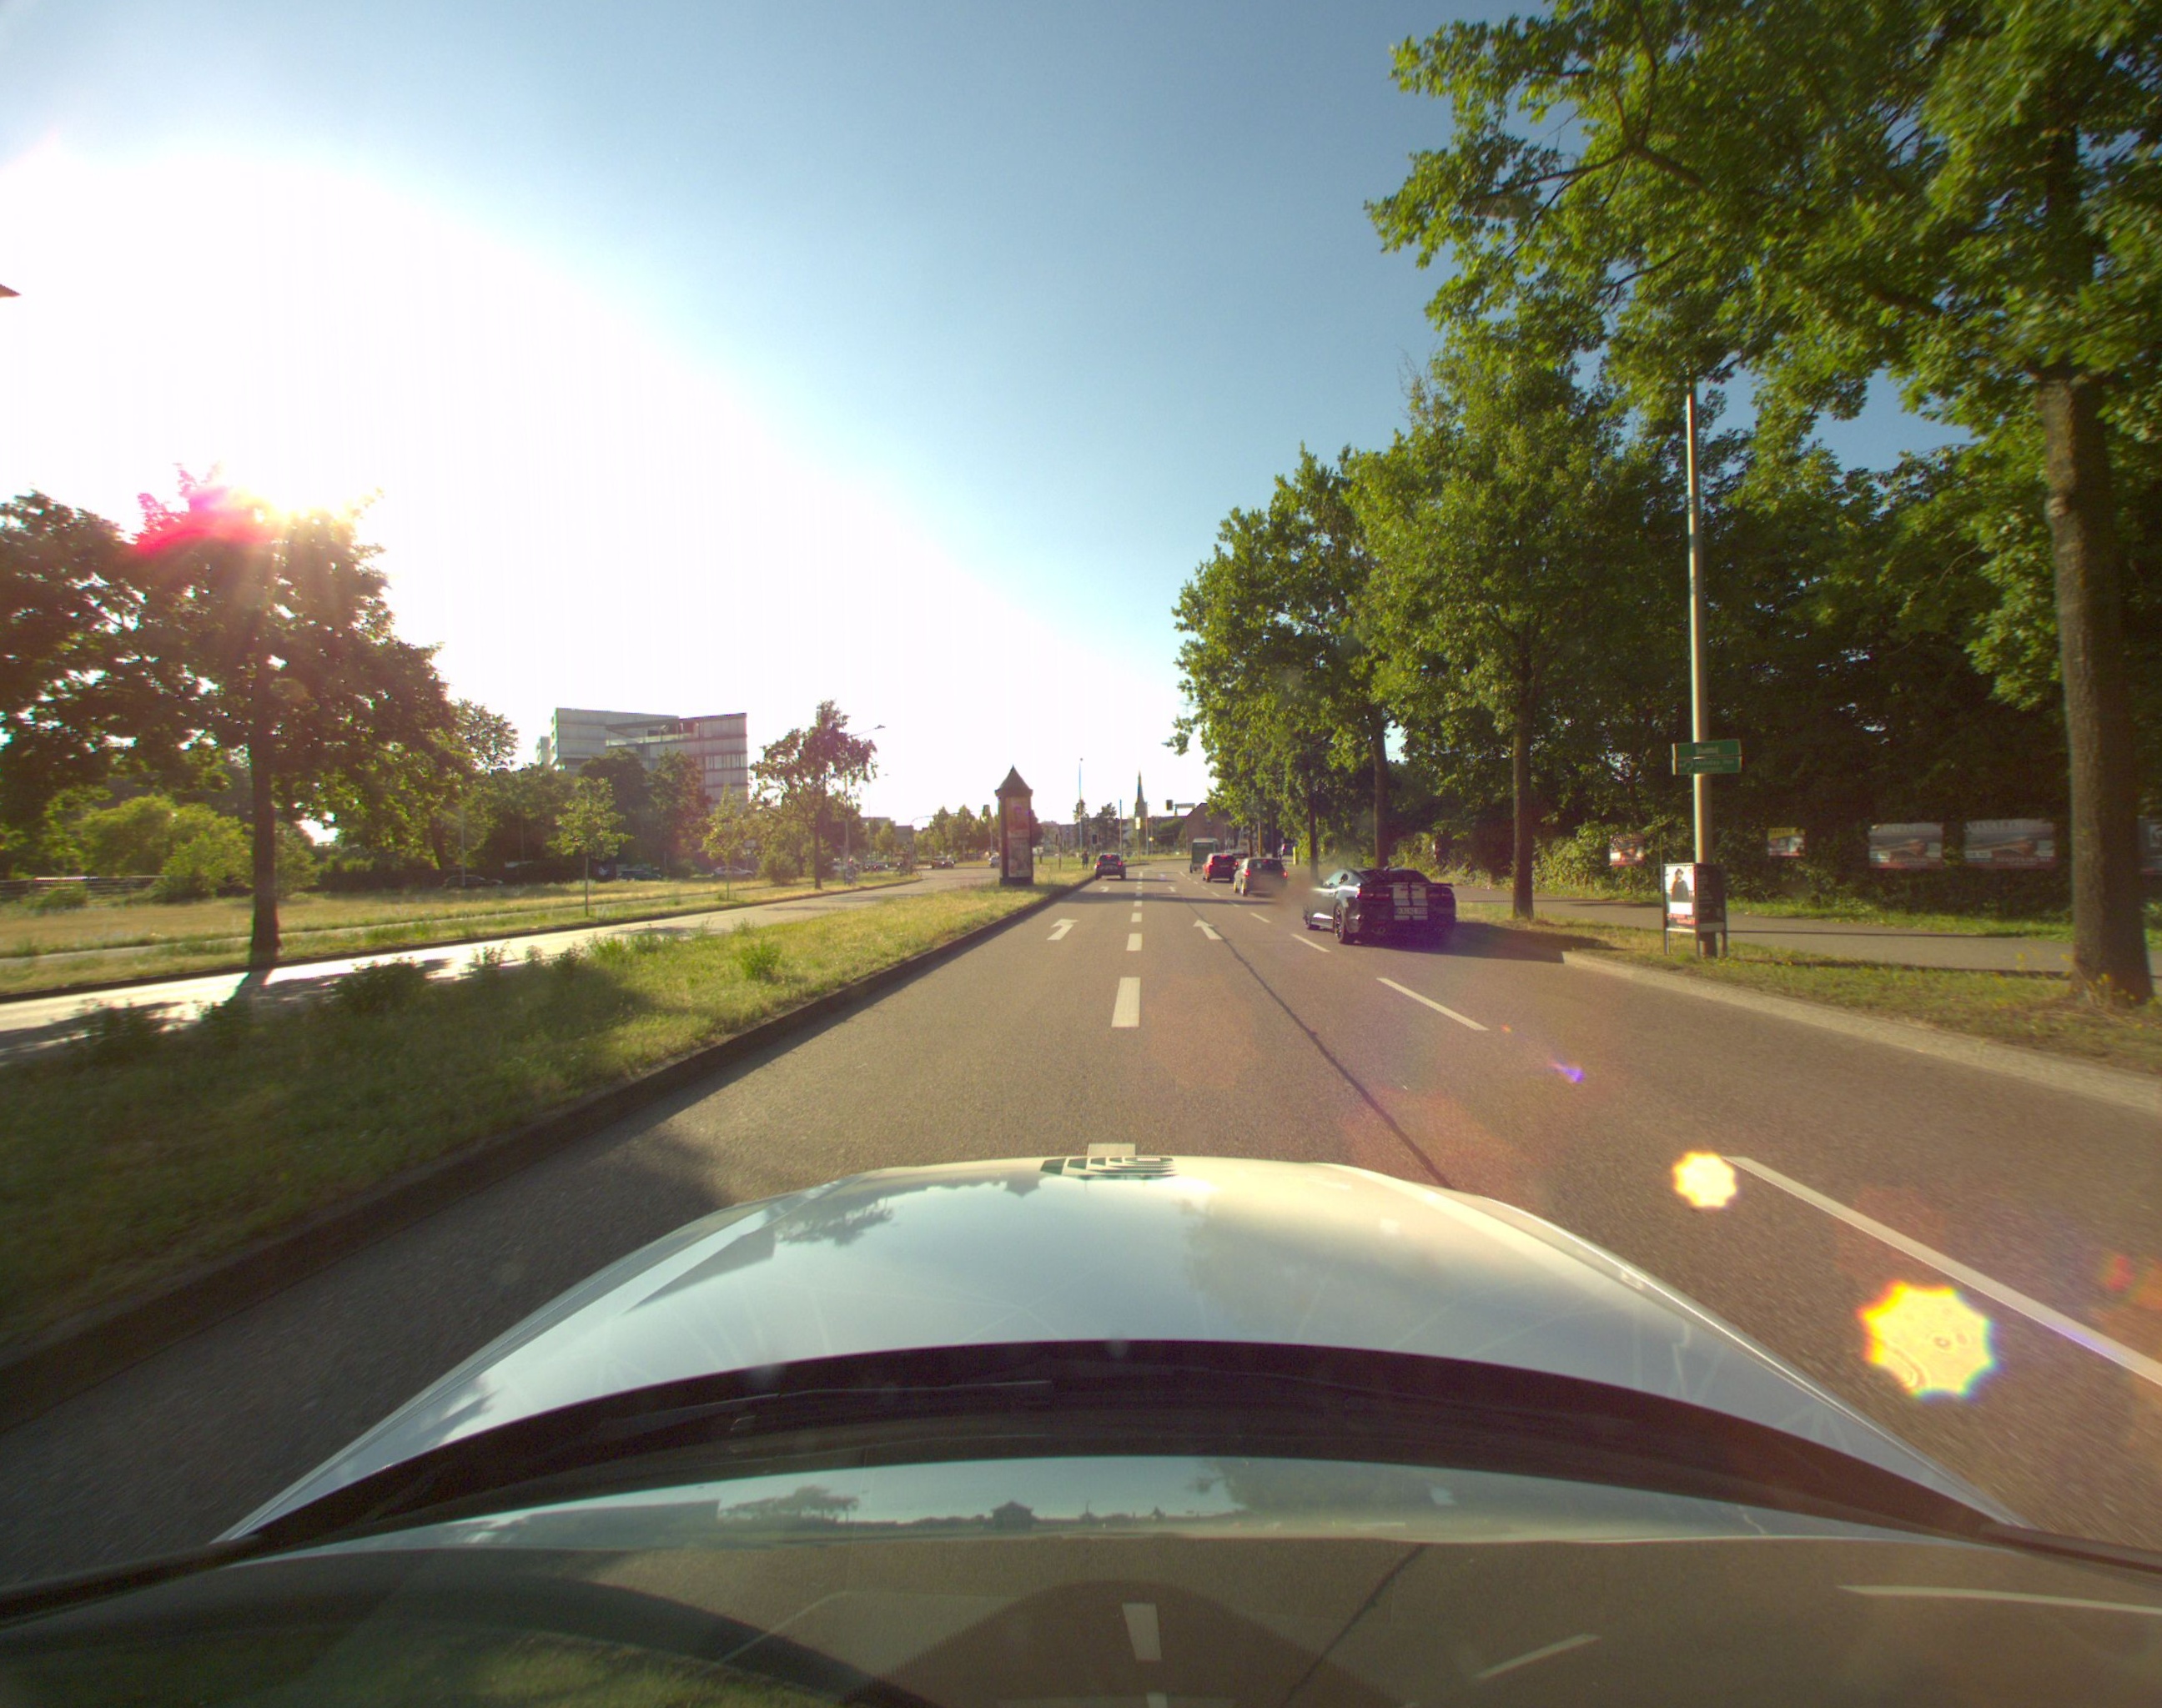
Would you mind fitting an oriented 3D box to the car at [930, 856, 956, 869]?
[{"bbox_3d":[-17.294,1.045,101.847,1.914,1.444,4.102,-2,0,-28],"label":"car"}]

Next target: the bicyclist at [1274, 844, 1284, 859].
[{"bbox_3d":[17.497,-0.230,71.995,0.649,1.294,0.464,-3,1,-14],"label":"bicyclist"}]

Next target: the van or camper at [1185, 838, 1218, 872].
[{"bbox_3d":[10.108,0.042,67.970,2.269,2.629,6.606,-1,0,13],"label":"van or camper"}]

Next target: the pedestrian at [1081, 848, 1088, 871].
[{"bbox_3d":[0.293,0.442,67.994,0.483,1.844,0.721,-2,0,7],"label":"pedestrian"}]

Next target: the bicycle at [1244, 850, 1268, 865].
[{"bbox_3d":[15.285,0.317,71.032,1.885,1.244,0.613,-4,-1,41],"label":"bicycle"}]

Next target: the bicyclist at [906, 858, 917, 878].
[{"bbox_3d":[-15.037,1.215,72.452,0.807,1.789,0.498,0,0,12],"label":"bicyclist"}]

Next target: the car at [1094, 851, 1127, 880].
[{"bbox_3d":[1.791,0.711,50.327,1.899,1.660,4.000,-2,0,0],"label":"car"}]

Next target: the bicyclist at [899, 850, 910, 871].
[{"bbox_3d":[-15.387,0.580,71.103,0.806,1.770,0.499,0,0,19],"label":"bicyclist"}]

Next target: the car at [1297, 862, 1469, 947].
[{"bbox_3d":[5.450,0.839,15.354,1.845,1.338,4.631,-1,-1,5],"label":"car"}]

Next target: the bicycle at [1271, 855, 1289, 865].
[{"bbox_3d":[17.616,0.554,72.081,1.461,0.786,0.438,-3,0,-14],"label":"bicycle"}]

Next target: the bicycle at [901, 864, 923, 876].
[{"bbox_3d":[-15.037,1.446,72.449,1.896,1.019,0.506,-1,0,11],"label":"bicycle"}]

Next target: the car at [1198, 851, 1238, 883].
[{"bbox_3d":[7.690,0.688,45.951,1.740,1.620,3.822,1,1,2],"label":"car"}]

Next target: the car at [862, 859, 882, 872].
[{"bbox_3d":[-26.648,1.427,103.863,1.663,1.441,3.612,-3,1,-3],"label":"car"}]

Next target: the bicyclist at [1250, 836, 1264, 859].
[{"bbox_3d":[15.323,-0.548,70.971,0.927,1.899,0.605,-4,-1,41],"label":"bicyclist"}]

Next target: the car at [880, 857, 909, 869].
[{"bbox_3d":[-25.508,1.260,111.104,4.095,1.376,1.683,-2,1,41],"label":"car"}]

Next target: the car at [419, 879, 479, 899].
[{"bbox_3d":[-55.044,3.019,70.975,4.013,1.508,1.854,-2,0,-39],"label":"car"}]

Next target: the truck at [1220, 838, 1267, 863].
[{"bbox_3d":[17.859,-0.419,89.402,2.555,2.558,6.292,-2,0,36],"label":"truck"}]

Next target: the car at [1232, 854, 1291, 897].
[{"bbox_3d":[6.983,0.802,31.887,1.739,1.473,3.825,-2,0,5],"label":"car"}]

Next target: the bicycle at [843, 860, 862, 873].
[{"bbox_3d":[-20.368,1.080,72.601,1.800,1.118,0.730,-2,0,42],"label":"bicycle"}]

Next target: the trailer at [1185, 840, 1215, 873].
[{"bbox_3d":[9.014,0.167,61.933,2.080,2.400,3.505,0,0,4],"label":"trailer"}]

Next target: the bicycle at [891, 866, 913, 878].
[{"bbox_3d":[-15.667,1.562,71.197,1.892,1.019,0.507,-1,0,19],"label":"bicycle"}]

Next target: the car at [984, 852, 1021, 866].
[{"bbox_3d":[-8.956,0.594,93.027,3.711,1.434,1.847,-2,0,30],"label":"car"}]

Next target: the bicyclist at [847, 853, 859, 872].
[{"bbox_3d":[-20.311,0.775,72.560,0.820,1.666,0.714,-2,0,42],"label":"bicyclist"}]

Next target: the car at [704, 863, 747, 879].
[{"bbox_3d":[-37.167,1.762,85.163,3.727,1.508,1.854,-2,0,-39],"label":"car"}]

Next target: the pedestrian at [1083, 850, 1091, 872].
[{"bbox_3d":[0.505,0.576,68.866,0.483,1.844,0.673,-2,0,7],"label":"pedestrian"}]

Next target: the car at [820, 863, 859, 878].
[{"bbox_3d":[-27.106,1.817,91.419,3.981,1.508,1.834,-2,0,-24],"label":"car"}]

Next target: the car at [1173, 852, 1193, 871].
[{"bbox_3d":[9.049,0.626,72.710,1.594,1.610,4.006,-2,0,5],"label":"car"}]
